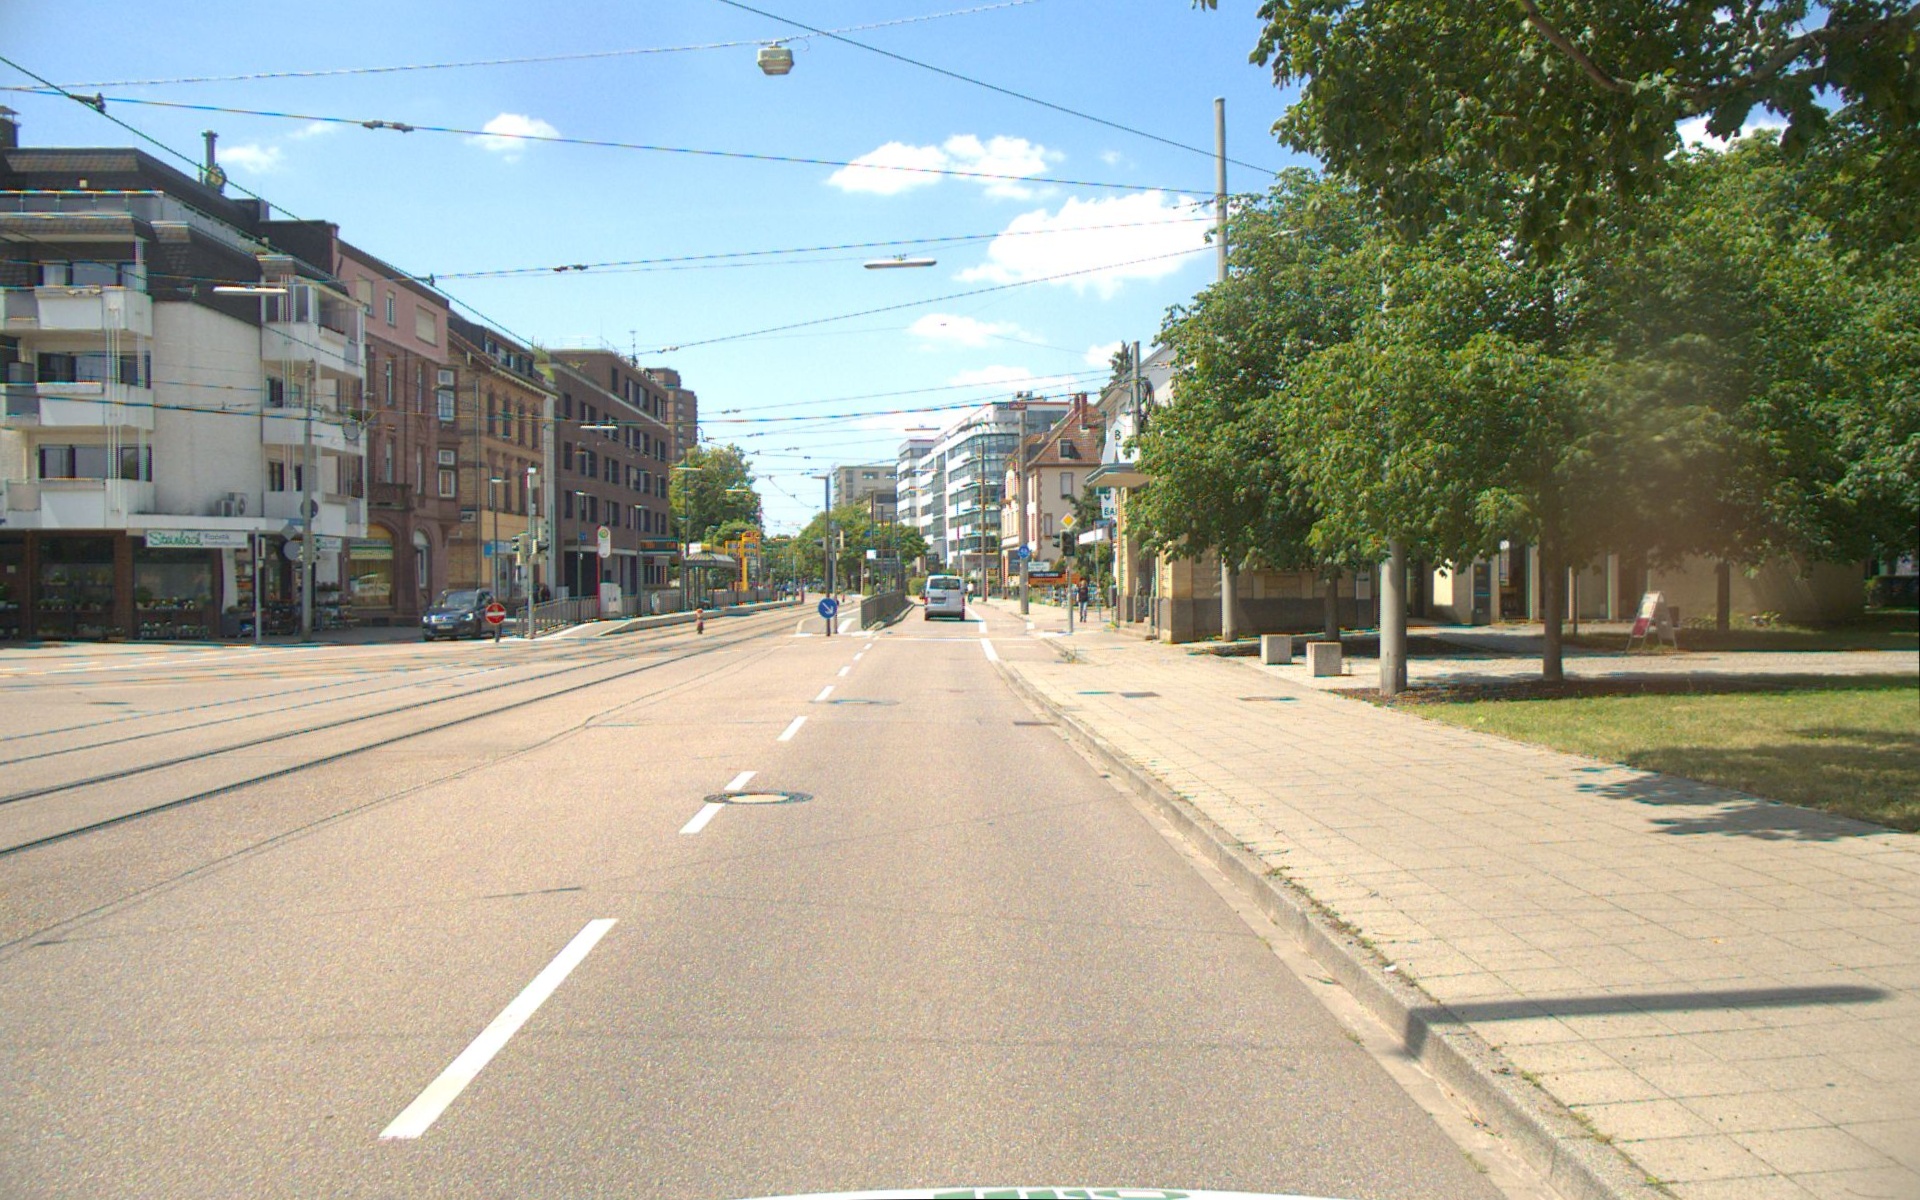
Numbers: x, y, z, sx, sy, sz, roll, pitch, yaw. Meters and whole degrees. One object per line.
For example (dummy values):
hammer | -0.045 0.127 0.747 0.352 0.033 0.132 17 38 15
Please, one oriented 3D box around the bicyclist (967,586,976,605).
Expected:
bicyclist | 0.836 -0.342 121.684 0.579 1.421 0.841 0 1 -4

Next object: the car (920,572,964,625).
car | -0.755 -0.085 68.993 1.716 2.048 4.000 -2 1 0

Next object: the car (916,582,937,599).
car | -3.631 -1.057 179.275 1.827 1.716 4.994 -2 1 -6

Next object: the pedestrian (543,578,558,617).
pedestrian | -21.453 -0.136 86.669 0.663 2.049 0.684 0 0 -3

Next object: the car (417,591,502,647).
car | -16.548 0.603 54.876 1.689 1.712 4.277 -1 1 -3

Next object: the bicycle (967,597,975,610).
bicycle | 0.832 0.262 121.806 0.456 0.903 2.047 0 1 -3

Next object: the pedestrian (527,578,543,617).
pedestrian | -22.197 -0.131 86.450 0.605 2.049 0.810 -1 0 -3

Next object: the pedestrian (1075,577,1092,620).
pedestrian | 4.631 -0.051 62.068 0.565 1.583 0.786 -3 0 2
